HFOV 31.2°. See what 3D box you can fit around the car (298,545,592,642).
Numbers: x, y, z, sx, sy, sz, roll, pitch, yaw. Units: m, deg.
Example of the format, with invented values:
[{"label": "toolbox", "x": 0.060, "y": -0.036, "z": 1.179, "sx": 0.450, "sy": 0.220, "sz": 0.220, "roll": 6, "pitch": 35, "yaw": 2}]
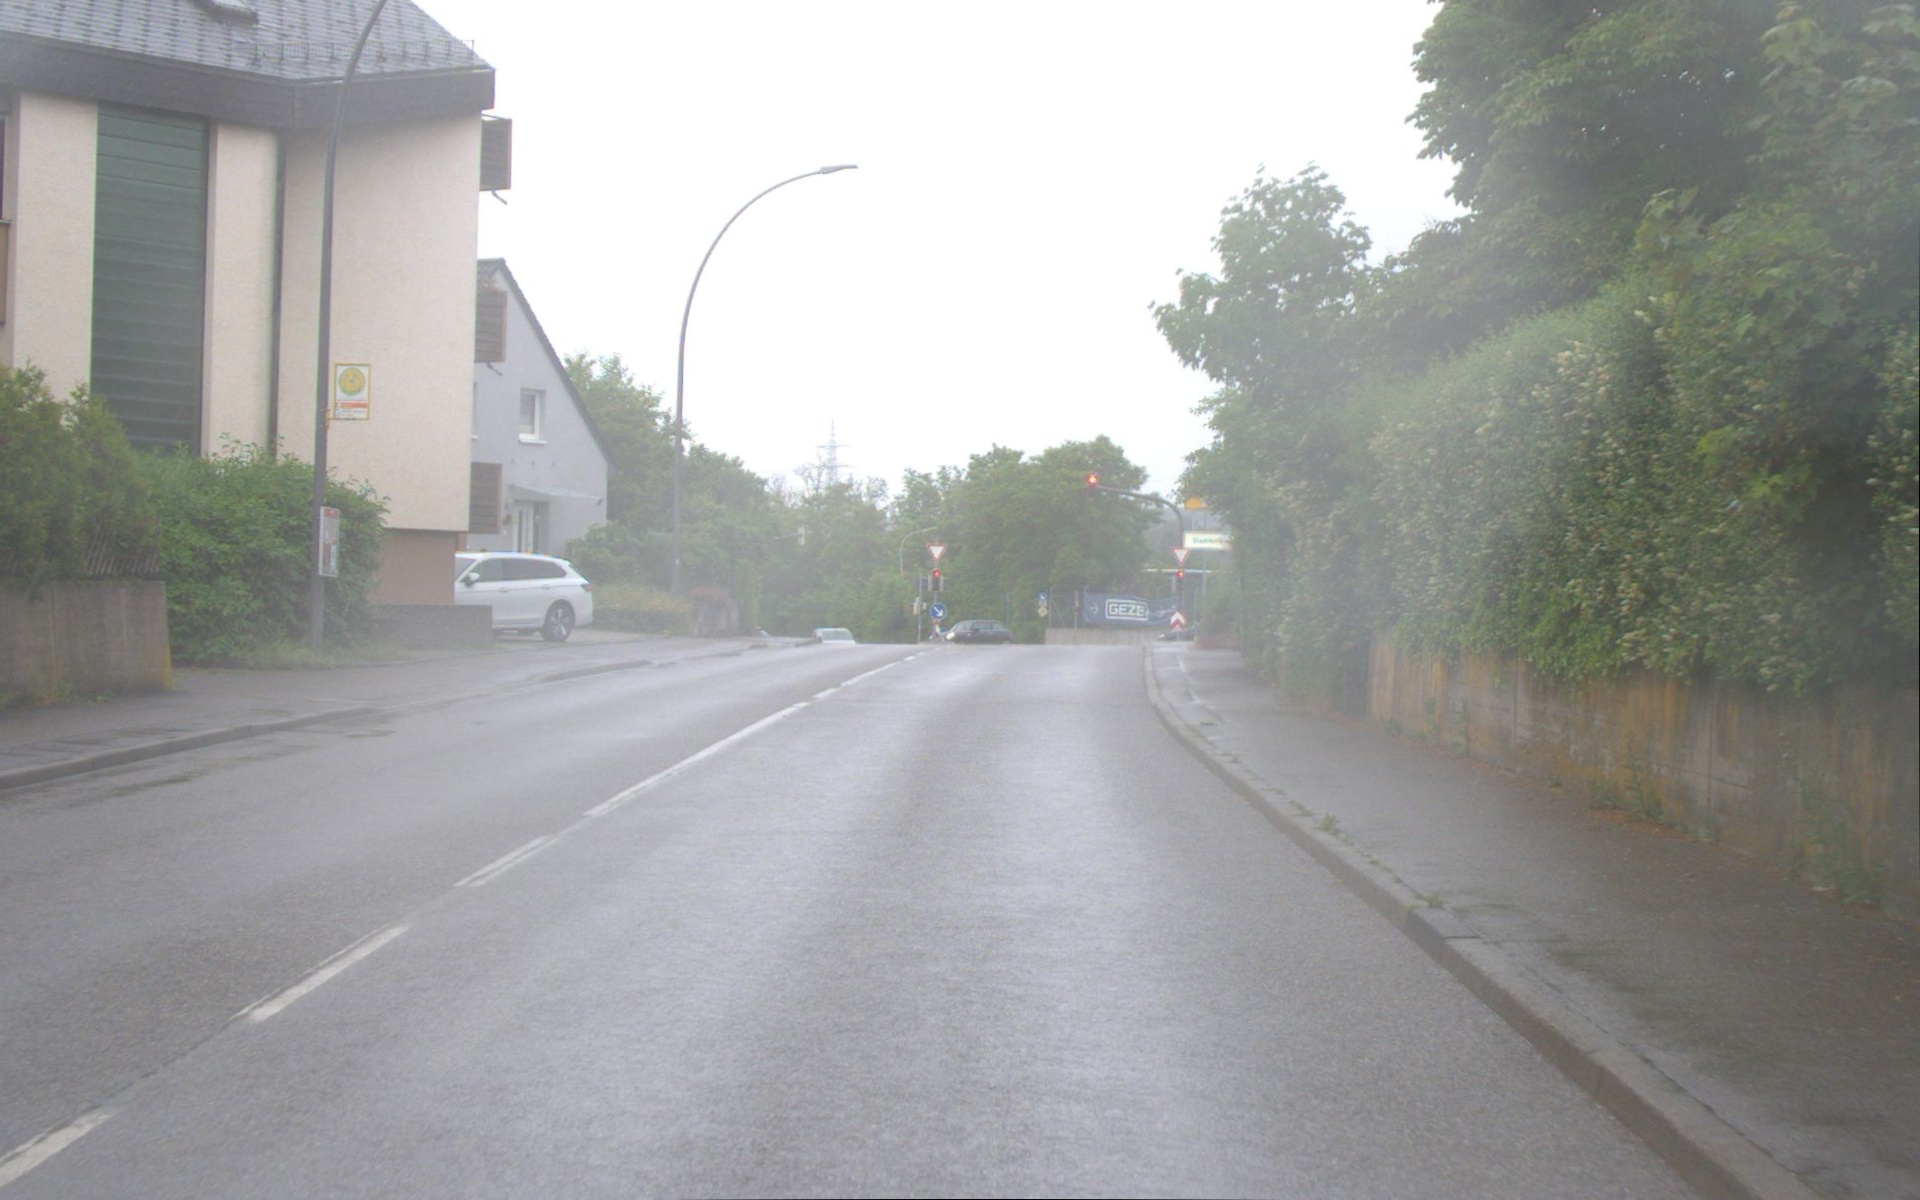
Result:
[{"label": "car", "x": -8.484, "y": -0.093, "z": 57.021, "sx": 1.905, "sy": 1.472, "sz": 4.871, "roll": 3, "pitch": 1, "yaw": 36}]
